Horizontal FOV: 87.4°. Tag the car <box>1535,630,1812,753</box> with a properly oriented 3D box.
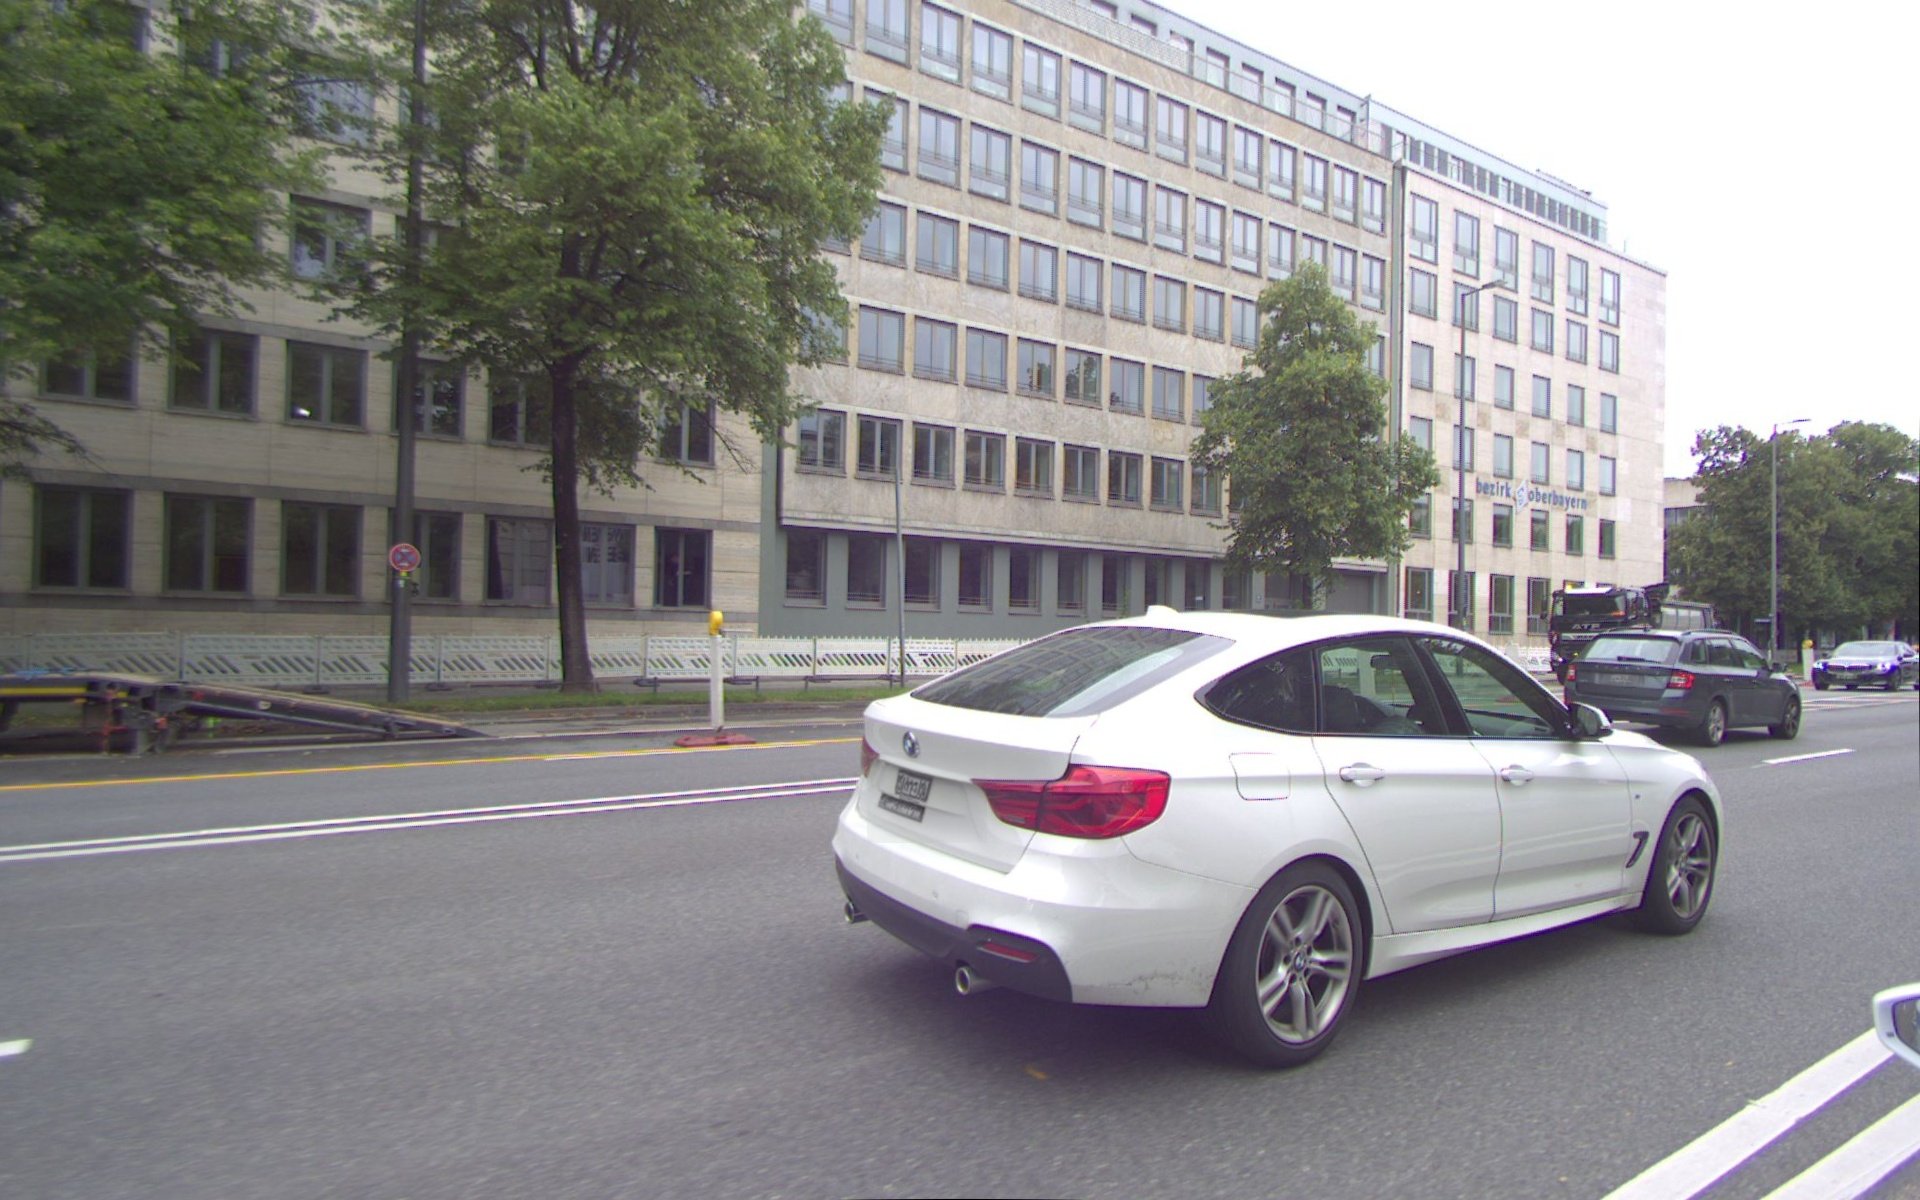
[{"bbox_3d":[10.050,1.206,14.059,4.230,1.466,1.782,2,-2,-34],"label":"car"}]

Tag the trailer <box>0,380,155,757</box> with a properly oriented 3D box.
[{"bbox_3d":[-14.422,-0.473,8.464,11.656,3.790,2.929,2,0,-36],"label":"trailer"}]

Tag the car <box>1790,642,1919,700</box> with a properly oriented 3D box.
[{"bbox_3d":[27.242,2.130,30.457,3.953,1.617,1.984,2,-2,-30],"label":"car"}]

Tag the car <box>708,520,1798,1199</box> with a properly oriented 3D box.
[{"bbox_3d":[1.606,0.741,4.458,4.970,1.658,1.783,2,-2,-32],"label":"car"}]

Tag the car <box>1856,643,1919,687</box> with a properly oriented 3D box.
[{"bbox_3d":[36.616,2.499,38.882,3.959,1.617,1.981,2,-2,-34],"label":"car"}]

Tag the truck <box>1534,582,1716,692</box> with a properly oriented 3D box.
[{"bbox_3d":[23.270,1.240,34.897,8.691,3.401,2.817,2,0,-40],"label":"truck"}]
